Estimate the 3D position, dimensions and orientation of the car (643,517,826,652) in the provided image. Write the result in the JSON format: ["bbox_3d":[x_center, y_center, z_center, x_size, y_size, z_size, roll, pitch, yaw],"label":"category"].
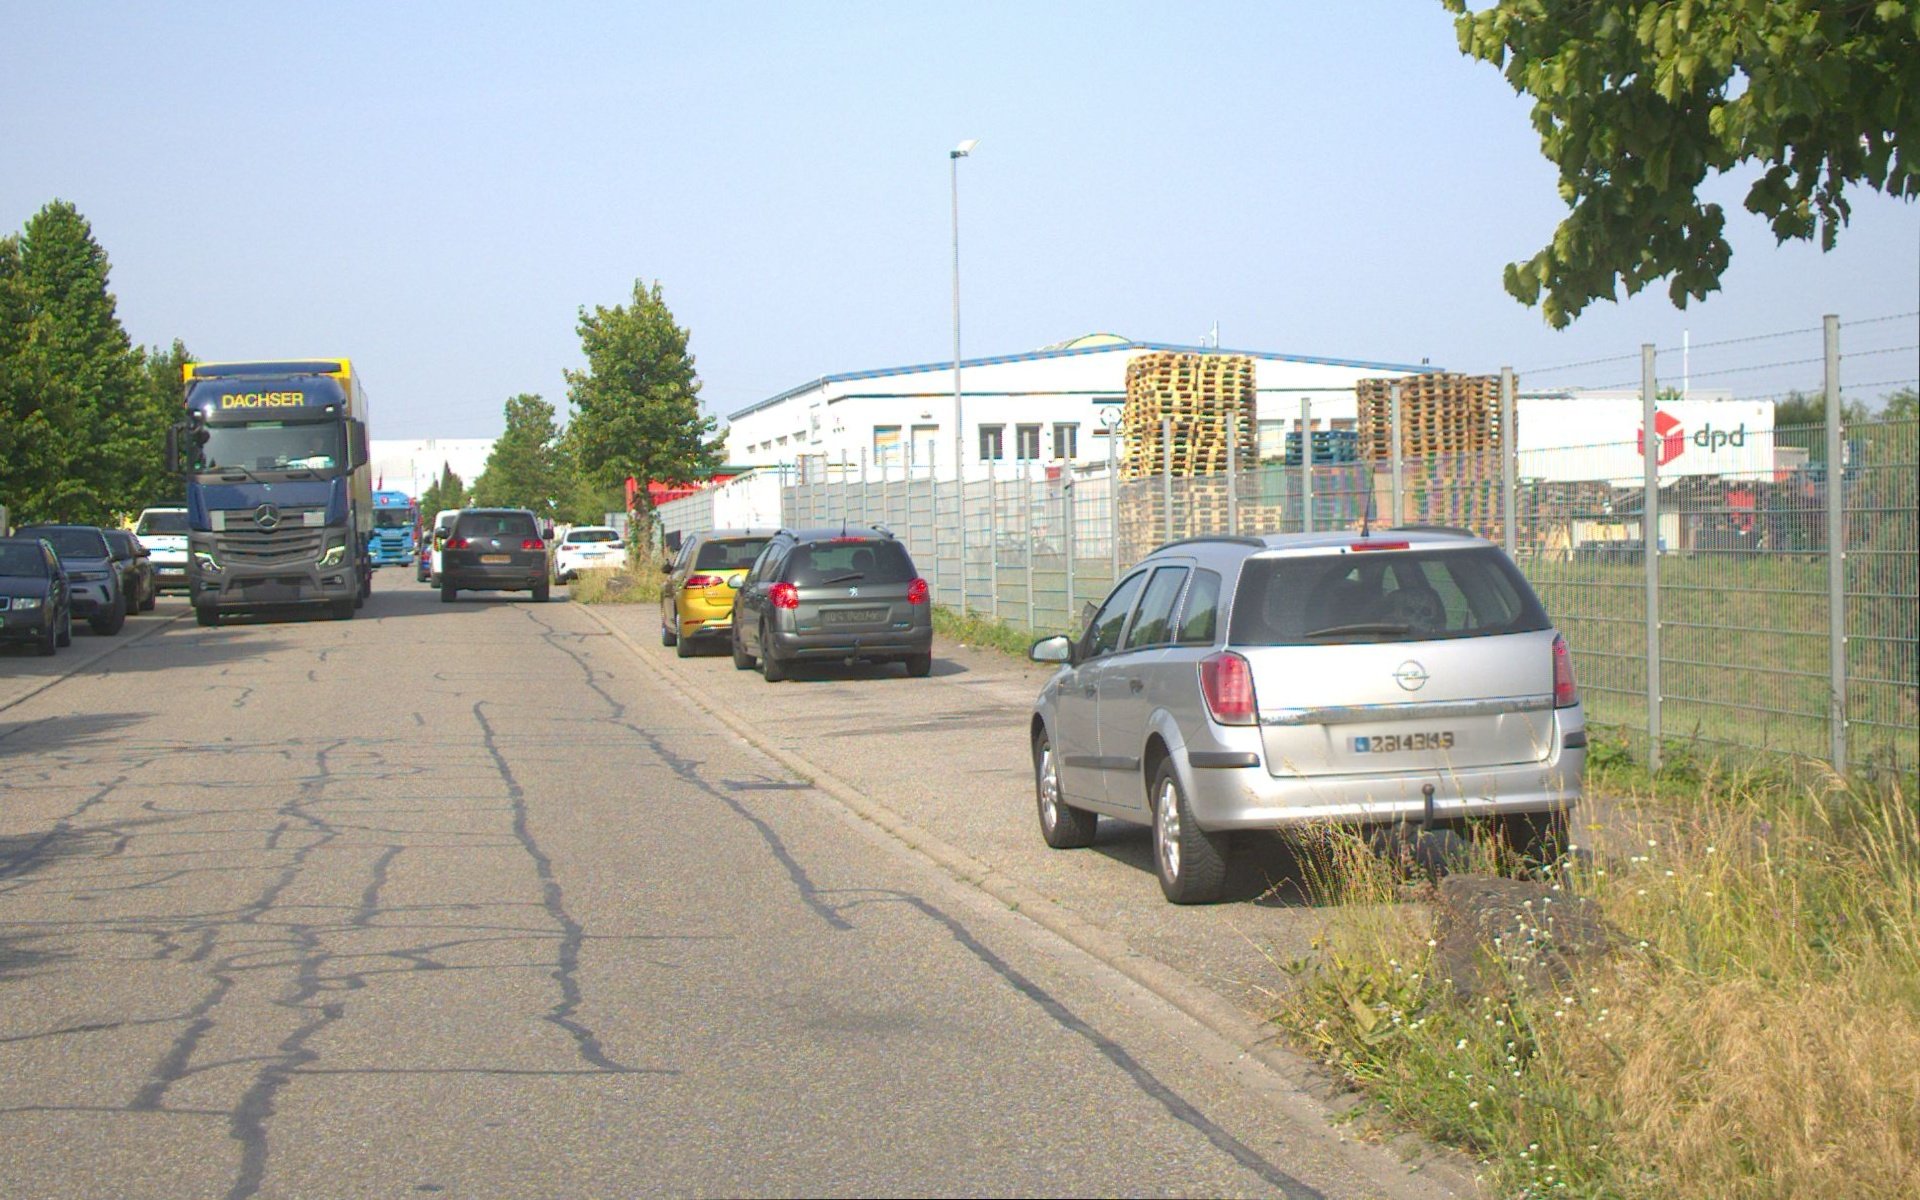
[{"bbox_3d":[-2.746,-0.227,41.140,1.714,1.450,4.188,-3,2,-9],"label":"car"}]

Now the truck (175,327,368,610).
[{"bbox_3d":[-11.155,-2.111,56.452,2.498,4.131,10.382,-3,2,-9],"label":"truck"}]

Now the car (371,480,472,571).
[{"bbox_3d":[-12.911,-1.794,82.600,2.121,2.103,4.626,-1,1,-6],"label":"car"}]

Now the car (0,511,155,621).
[{"bbox_3d":[-12.758,-0.515,49.603,1.832,1.491,4.050,1,1,-8],"label":"car"}]

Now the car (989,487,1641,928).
[{"bbox_3d":[1.408,0.351,15.512,1.798,1.620,4.450,-3,2,-9],"label":"car"}]

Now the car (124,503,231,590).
[{"bbox_3d":[-16.485,-1.147,72.559,1.832,1.756,4.050,1,1,-8],"label":"car"}]

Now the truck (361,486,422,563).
[{"bbox_3d":[-28.067,-3.729,169.538,2.878,3.748,6.086,-1,1,-10],"label":"truck"}]

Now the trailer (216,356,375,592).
[{"bbox_3d":[-12.615,-2.383,65.788,2.498,4.131,8.499,-3,2,-9],"label":"trailer"}]

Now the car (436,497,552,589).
[{"bbox_3d":[-8.359,-1.039,61.947,1.880,1.581,4.114,-1,1,-6],"label":"car"}]

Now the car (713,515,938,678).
[{"bbox_3d":[-1.449,-0.086,35.601,1.714,1.510,4.005,-3,2,-10],"label":"car"}]

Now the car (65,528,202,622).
[{"bbox_3d":[-13.978,-0.454,58.287,1.832,1.491,4.050,1,1,-8],"label":"car"}]

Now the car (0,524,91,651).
[{"bbox_3d":[-12.151,-0.197,43.375,1.832,1.491,4.050,1,1,-8],"label":"car"}]

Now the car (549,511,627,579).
[{"bbox_3d":[-9.379,-1.403,86.476,1.714,1.674,3.951,-1,1,-9],"label":"car"}]
